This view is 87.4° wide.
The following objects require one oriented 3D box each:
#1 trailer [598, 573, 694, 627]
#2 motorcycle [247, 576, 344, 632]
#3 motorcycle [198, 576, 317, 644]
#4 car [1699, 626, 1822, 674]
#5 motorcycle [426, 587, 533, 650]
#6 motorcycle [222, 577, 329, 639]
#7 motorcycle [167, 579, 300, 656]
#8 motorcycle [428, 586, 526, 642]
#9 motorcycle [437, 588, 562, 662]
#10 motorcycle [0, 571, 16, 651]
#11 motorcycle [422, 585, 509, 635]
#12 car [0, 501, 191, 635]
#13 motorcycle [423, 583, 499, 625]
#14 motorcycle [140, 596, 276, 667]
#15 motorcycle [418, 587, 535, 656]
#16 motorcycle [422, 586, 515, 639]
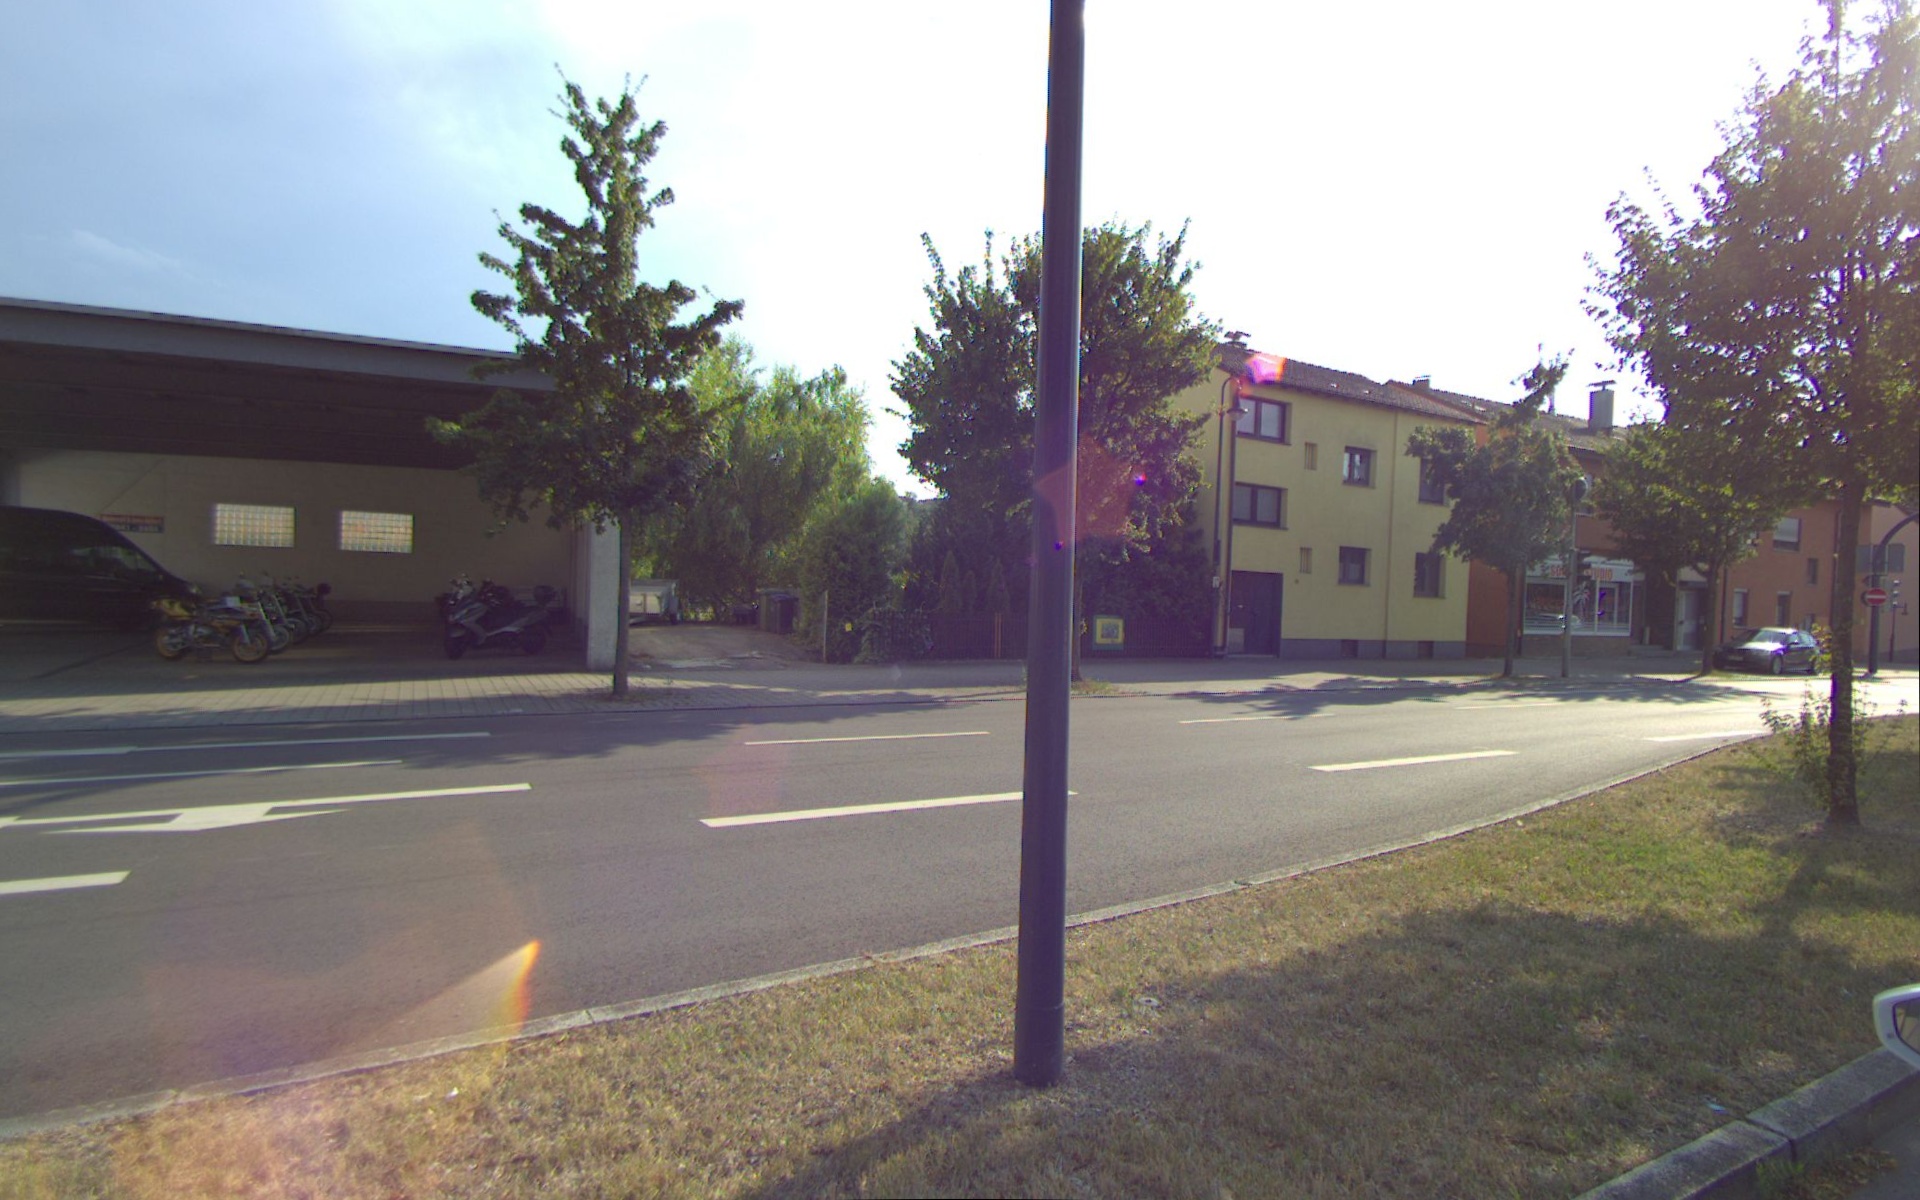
[{"bbox_3d":[-8.219,-0.006,26.618,1.698,1.280,3.995,1,0,-7],"label":"trailer"},{"bbox_3d":[-16.911,0.104,25.573,2.219,1.354,0.631,1,0,10],"label":"motorcycle"},{"bbox_3d":[-14.755,0.207,21.105,2.219,1.354,0.631,1,0,10],"label":"motorcycle"},{"bbox_3d":[25.967,1.595,32.556,3.953,1.319,1.728,1,4,-30],"label":"car"},{"bbox_3d":[-10.744,0.385,22.538,0.621,1.314,2.113,1,2,36],"label":"motorcycle"},{"bbox_3d":[-15.887,0.183,23.315,2.219,1.354,0.631,1,0,10],"label":"motorcycle"},{"bbox_3d":[-13.634,0.321,18.863,2.219,1.354,0.631,1,0,10],"label":"motorcycle"},{"bbox_3d":[-11.769,0.313,24.538,0.621,1.314,2.113,1,2,36],"label":"motorcycle"},{"bbox_3d":[-8.621,0.432,18.898,0.621,1.314,2.113,1,2,36],"label":"motorcycle"},{"bbox_3d":[-17.289,0.171,16.725,0.619,1.380,2.225,1,0,24],"label":"motorcycle"},{"bbox_3d":[-13.515,0.241,27.519,0.621,1.314,2.113,1,2,36],"label":"motorcycle"},{"bbox_3d":[-20.454,-0.680,22.092,1.962,2.789,5.280,1,0,26],"label":"car"},{"bbox_3d":[-15.961,0.101,32.177,0.621,1.314,2.113,1,2,36],"label":"motorcycle"},{"bbox_3d":[-12.498,0.506,16.698,1.993,1.101,0.631,1,0,12],"label":"motorcycle"},{"bbox_3d":[-9.814,0.403,20.460,0.621,1.314,2.113,1,2,36],"label":"motorcycle"},{"bbox_3d":[-12.651,0.293,25.921,0.621,1.314,2.113,1,2,36],"label":"motorcycle"}]
